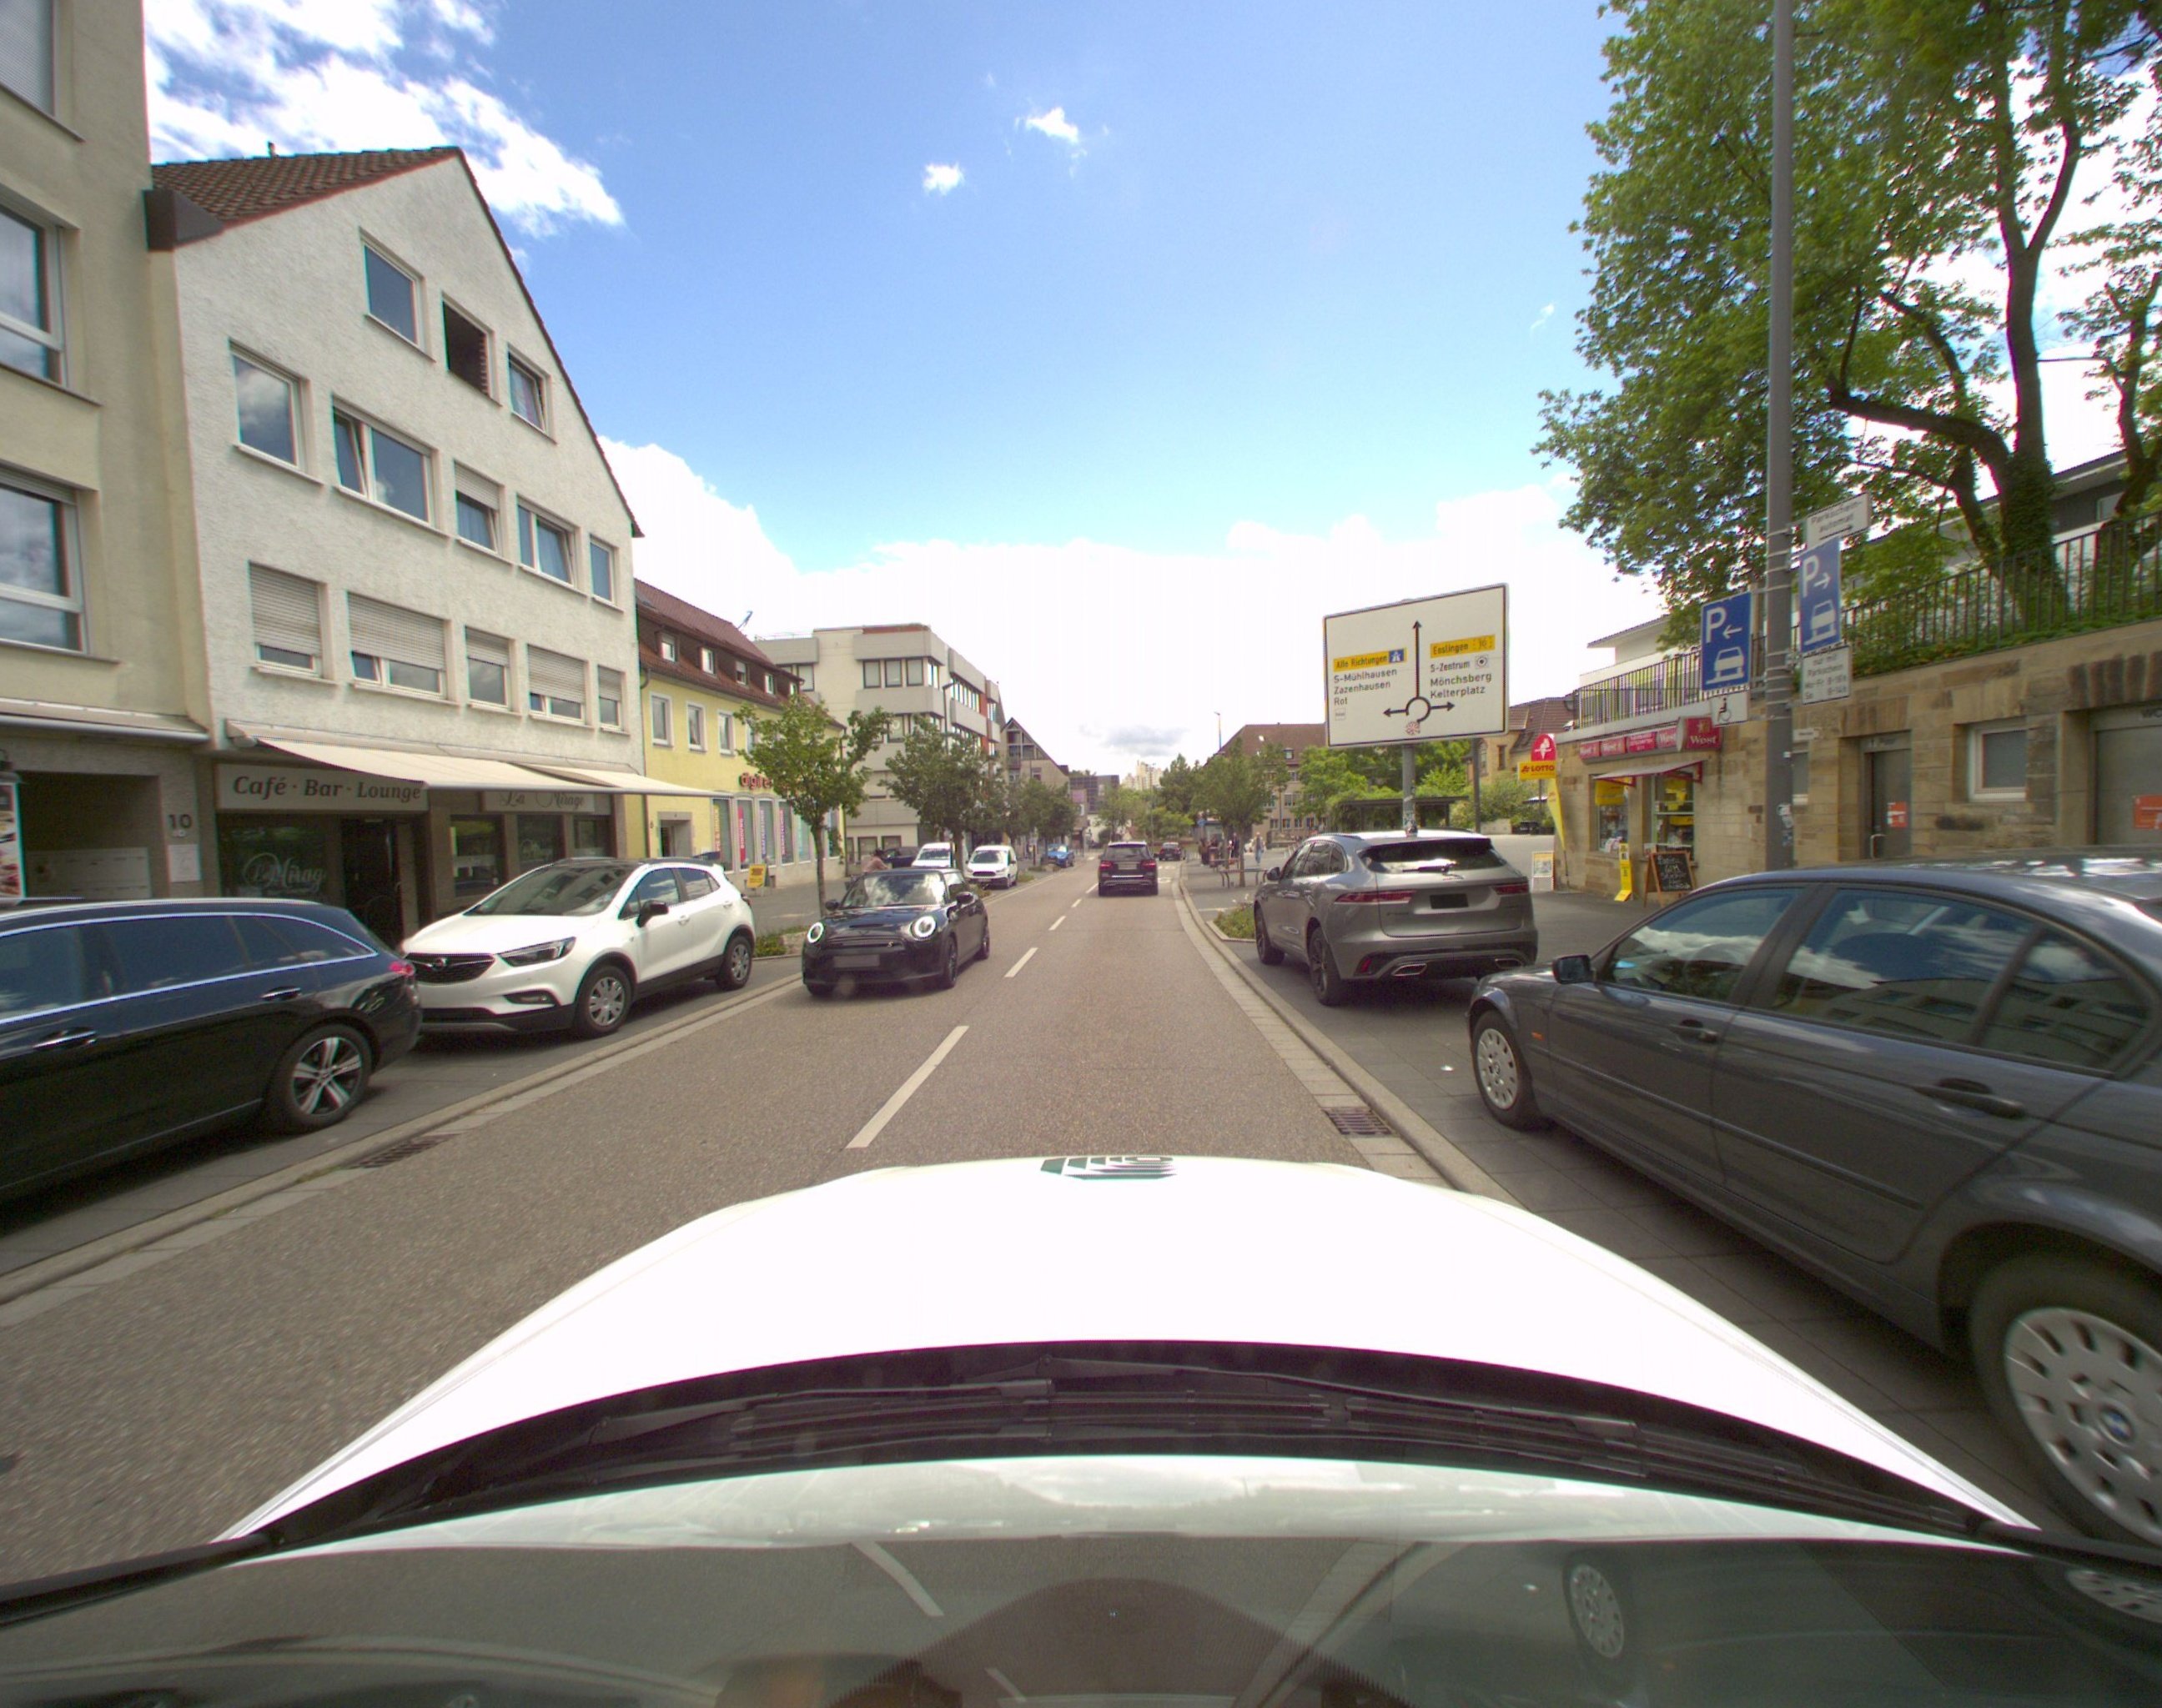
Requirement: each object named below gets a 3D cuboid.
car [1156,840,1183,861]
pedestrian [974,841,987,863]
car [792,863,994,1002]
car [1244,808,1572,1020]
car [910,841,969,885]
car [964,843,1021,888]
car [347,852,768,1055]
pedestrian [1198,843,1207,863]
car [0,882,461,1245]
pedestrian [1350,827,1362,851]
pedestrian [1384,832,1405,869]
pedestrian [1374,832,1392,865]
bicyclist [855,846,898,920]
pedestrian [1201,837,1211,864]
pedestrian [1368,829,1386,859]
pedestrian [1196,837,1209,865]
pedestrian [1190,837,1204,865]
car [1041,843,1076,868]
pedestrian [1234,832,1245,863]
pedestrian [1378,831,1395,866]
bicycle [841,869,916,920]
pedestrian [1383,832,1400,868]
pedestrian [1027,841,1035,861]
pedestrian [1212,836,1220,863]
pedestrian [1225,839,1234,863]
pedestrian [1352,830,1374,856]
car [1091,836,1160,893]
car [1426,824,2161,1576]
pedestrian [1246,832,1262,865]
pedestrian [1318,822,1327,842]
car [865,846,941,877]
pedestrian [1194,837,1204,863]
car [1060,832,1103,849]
[{"bbox_3d":[6.997,-0.312,64.987,2.043,1.588,4.380,1,1,5],"label":"car"},{"bbox_3d":[-7.341,-0.121,59.337,0.589,1.566,0.638,-4,1,-38],"label":"pedestrian"},{"bbox_3d":[-2.254,0.881,10.712,1.600,1.388,3.631,-3,0,2],"label":"car"},{"bbox_3d":[3.211,0.494,9.149,1.921,1.724,4.575,-2,0,2],"label":"car"},{"bbox_3d":[-6.211,0.353,36.159,1.750,1.813,4.477,0,1,1],"label":"car"},{"bbox_3d":[-3.531,0.412,33.299,1.649,1.672,4.354,-1,1,3],"label":"car"},{"bbox_3d":[-5.113,0.818,8.767,1.658,1.646,4.137,0,0,3],"label":"car"},{"bbox_3d":[7.552,-0.047,50.732,0.399,1.226,0.390,-2,1,28],"label":"pedestrian"},{"bbox_3d":[-5.479,0.930,3.765,1.834,1.451,4.512,0,0,-1],"label":"car"},{"bbox_3d":[15.056,-0.819,44.584,0.563,1.323,0.548,-1,1,16],"label":"pedestrian"},{"bbox_3d":[11.671,-0.130,30.336,0.612,1.320,0.587,-2,3,9],"label":"pedestrian"},{"bbox_3d":[11.969,-0.205,32.291,0.565,1.261,0.543,-2,3,10],"label":"pedestrian"},{"bbox_3d":[-4.875,0.678,19.411,0.781,1.695,0.505,-3,0,-33],"label":"bicyclist"},{"bbox_3d":[7.455,-0.231,48.607,0.497,1.566,0.498,-3,1,5],"label":"pedestrian"},{"bbox_3d":[13.373,-0.462,36.800,0.620,1.307,0.548,-3,1,10],"label":"pedestrian"},{"bbox_3d":[6.829,-0.156,45.912,0.508,1.549,0.490,-2,1,32],"label":"pedestrian"},{"bbox_3d":[6.607,-0.167,46.393,0.489,1.549,0.537,-3,1,-40],"label":"pedestrian"},{"bbox_3d":[-1.514,0.065,56.584,1.684,1.599,4.342,1,1,9],"label":"car"},{"bbox_3d":[8.913,-0.374,45.770,0.509,1.680,0.577,-3,1,6],"label":"pedestrian"},{"bbox_3d":[11.885,-0.218,31.658,0.495,1.320,0.526,-2,3,11],"label":"pedestrian"},{"bbox_3d":[-4.813,0.946,19.408,1.661,1.087,0.409,-3,0,-35],"label":"bicycle"},{"bbox_3d":[11.830,-0.153,31.044,0.492,1.320,0.577,-2,3,10],"label":"pedestrian"},{"bbox_3d":[-4.099,-0.247,66.847,0.583,1.588,0.640,-1,1,7],"label":"pedestrian"},{"bbox_3d":[8.052,-0.286,48.536,0.391,1.566,0.352,-3,1,4],"label":"pedestrian"},{"bbox_3d":[8.352,-0.165,45.876,0.387,1.306,0.356,-4,0,8],"label":"pedestrian"},{"bbox_3d":[14.070,-0.570,40.601,0.680,1.269,0.762,-2,1,-41],"label":"pedestrian"},{"bbox_3d":[1.400,0.356,27.381,2.021,1.727,4.431,-1,-1,-1],"label":"car"},{"bbox_3d":[2.927,0.652,2.920,1.674,1.417,4.374,-2,-1,3],"label":"car"},{"bbox_3d":[8.908,-0.288,41.864,0.679,1.682,0.717,-2,1,17],"label":"pedestrian"},{"bbox_3d":[17.882,-1.638,60.247,0.501,1.508,0.454,-2,1,-1],"label":"pedestrian"},{"bbox_3d":[-9.456,0.374,43.441,3.616,1.558,1.668,-1,1,-1],"label":"car"},{"bbox_3d":[7.496,-0.275,51.734,0.383,1.619,0.471,-4,1,19],"label":"pedestrian"},{"bbox_3d":[0.064,-2.169,128.164,6.296,2.560,2.195,0,-2,-15],"label":"car"}]
